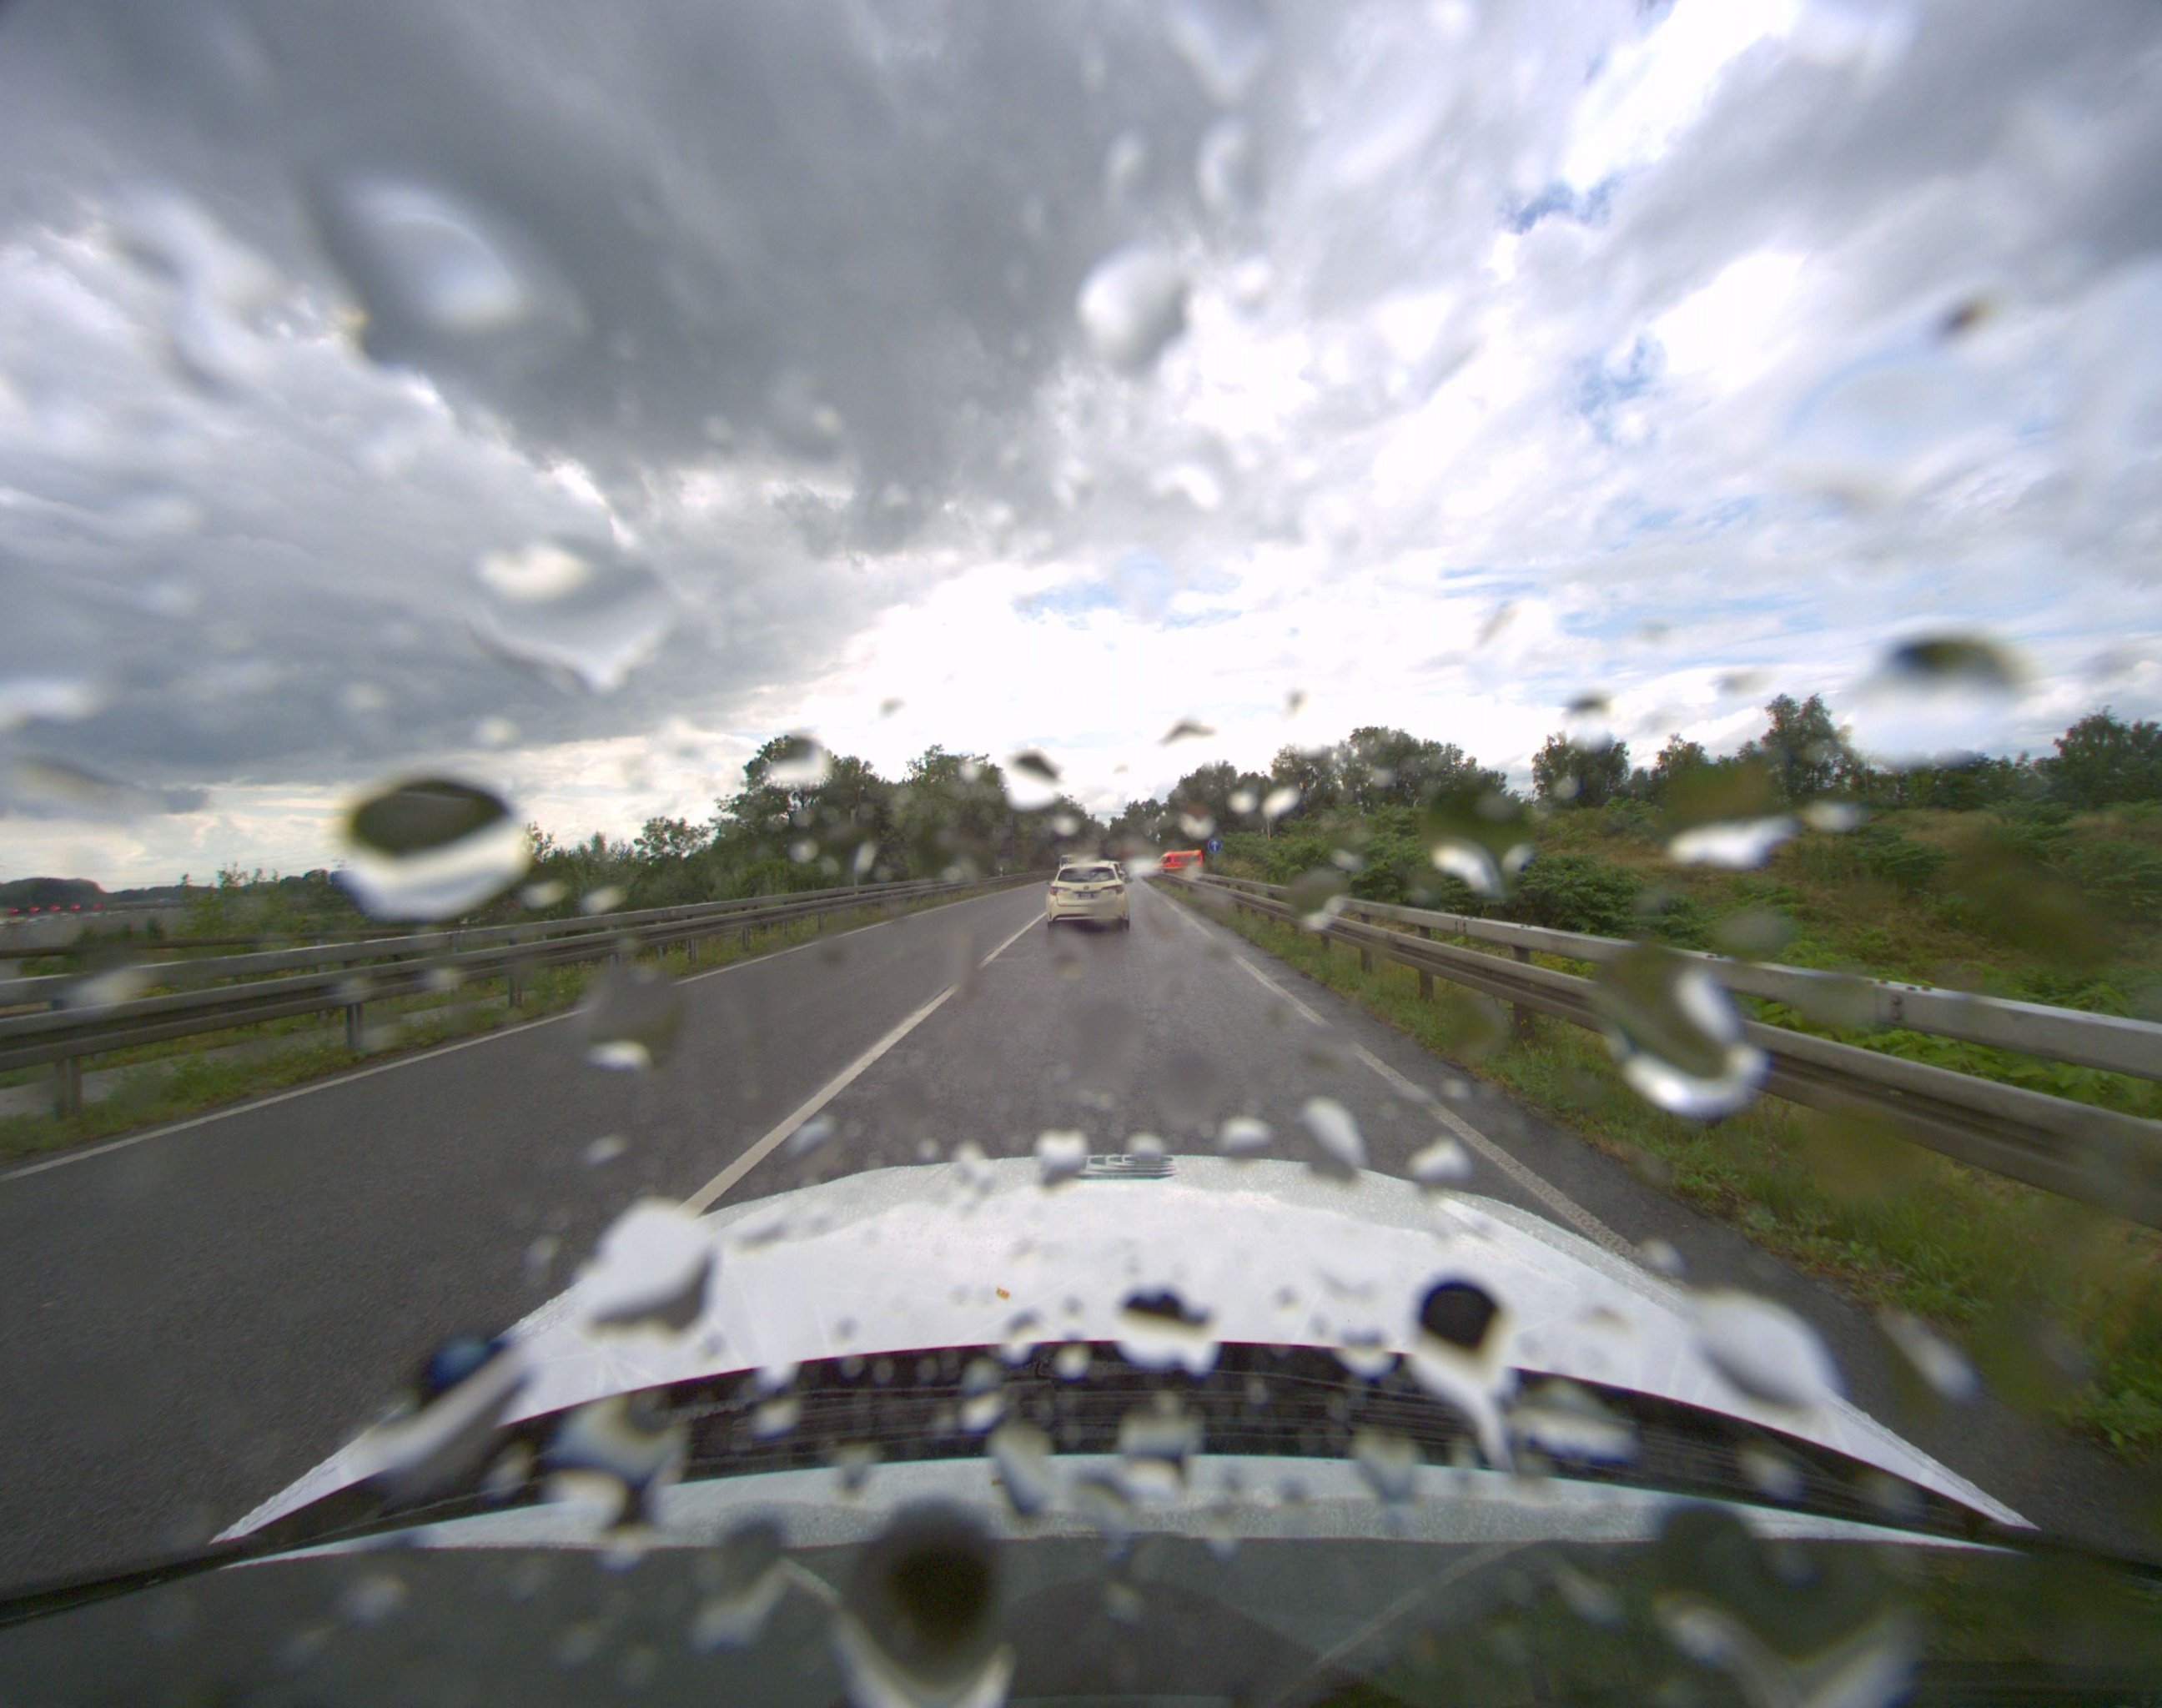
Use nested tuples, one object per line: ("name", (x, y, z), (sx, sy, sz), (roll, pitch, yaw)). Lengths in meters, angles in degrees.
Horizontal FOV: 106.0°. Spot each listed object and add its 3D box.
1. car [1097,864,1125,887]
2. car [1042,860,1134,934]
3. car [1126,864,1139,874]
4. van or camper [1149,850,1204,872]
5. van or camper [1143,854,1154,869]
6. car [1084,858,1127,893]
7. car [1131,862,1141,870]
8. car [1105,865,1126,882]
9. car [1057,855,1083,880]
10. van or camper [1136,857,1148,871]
("car", (2.063, 1.468, 56.798), (1.848, 1.443, 4.172), (-1, 1, 1))
("car", (0.182, 0.887, 18.629), (1.848, 1.394, 4.172), (-1, 1, 1))
("car", (8.025, 2.247, 126.308), (1.846, 1.443, 4.176), (-1, 0, 5))
("van or camper", (10.393, 0.761, 88.711), (5.685, 2.241, 2.011), (-1, 0, -14))
("van or camper", (16.632, 1.851, 200.456), (2.323, 3.562, 6.310), (-1, 0, 3))
("car", (1.120, 0.954, 37.919), (1.848, 1.443, 4.172), (-1, 1, 1))
("car", (10.448, 2.325, 154.343), (1.846, 1.443, 4.176), (-1, 0, 5))
("car", (3.258, 1.812, 77.097), (1.848, 1.443, 4.172), (-1, 1, 1))
("car", (-0.950, 1.196, 73.093), (1.986, 2.128, 4.897), (-1, 0, 2))
("van or camper", (13.085, 2.200, 174.664), (2.323, 2.864, 6.310), (-1, 0, 3))
